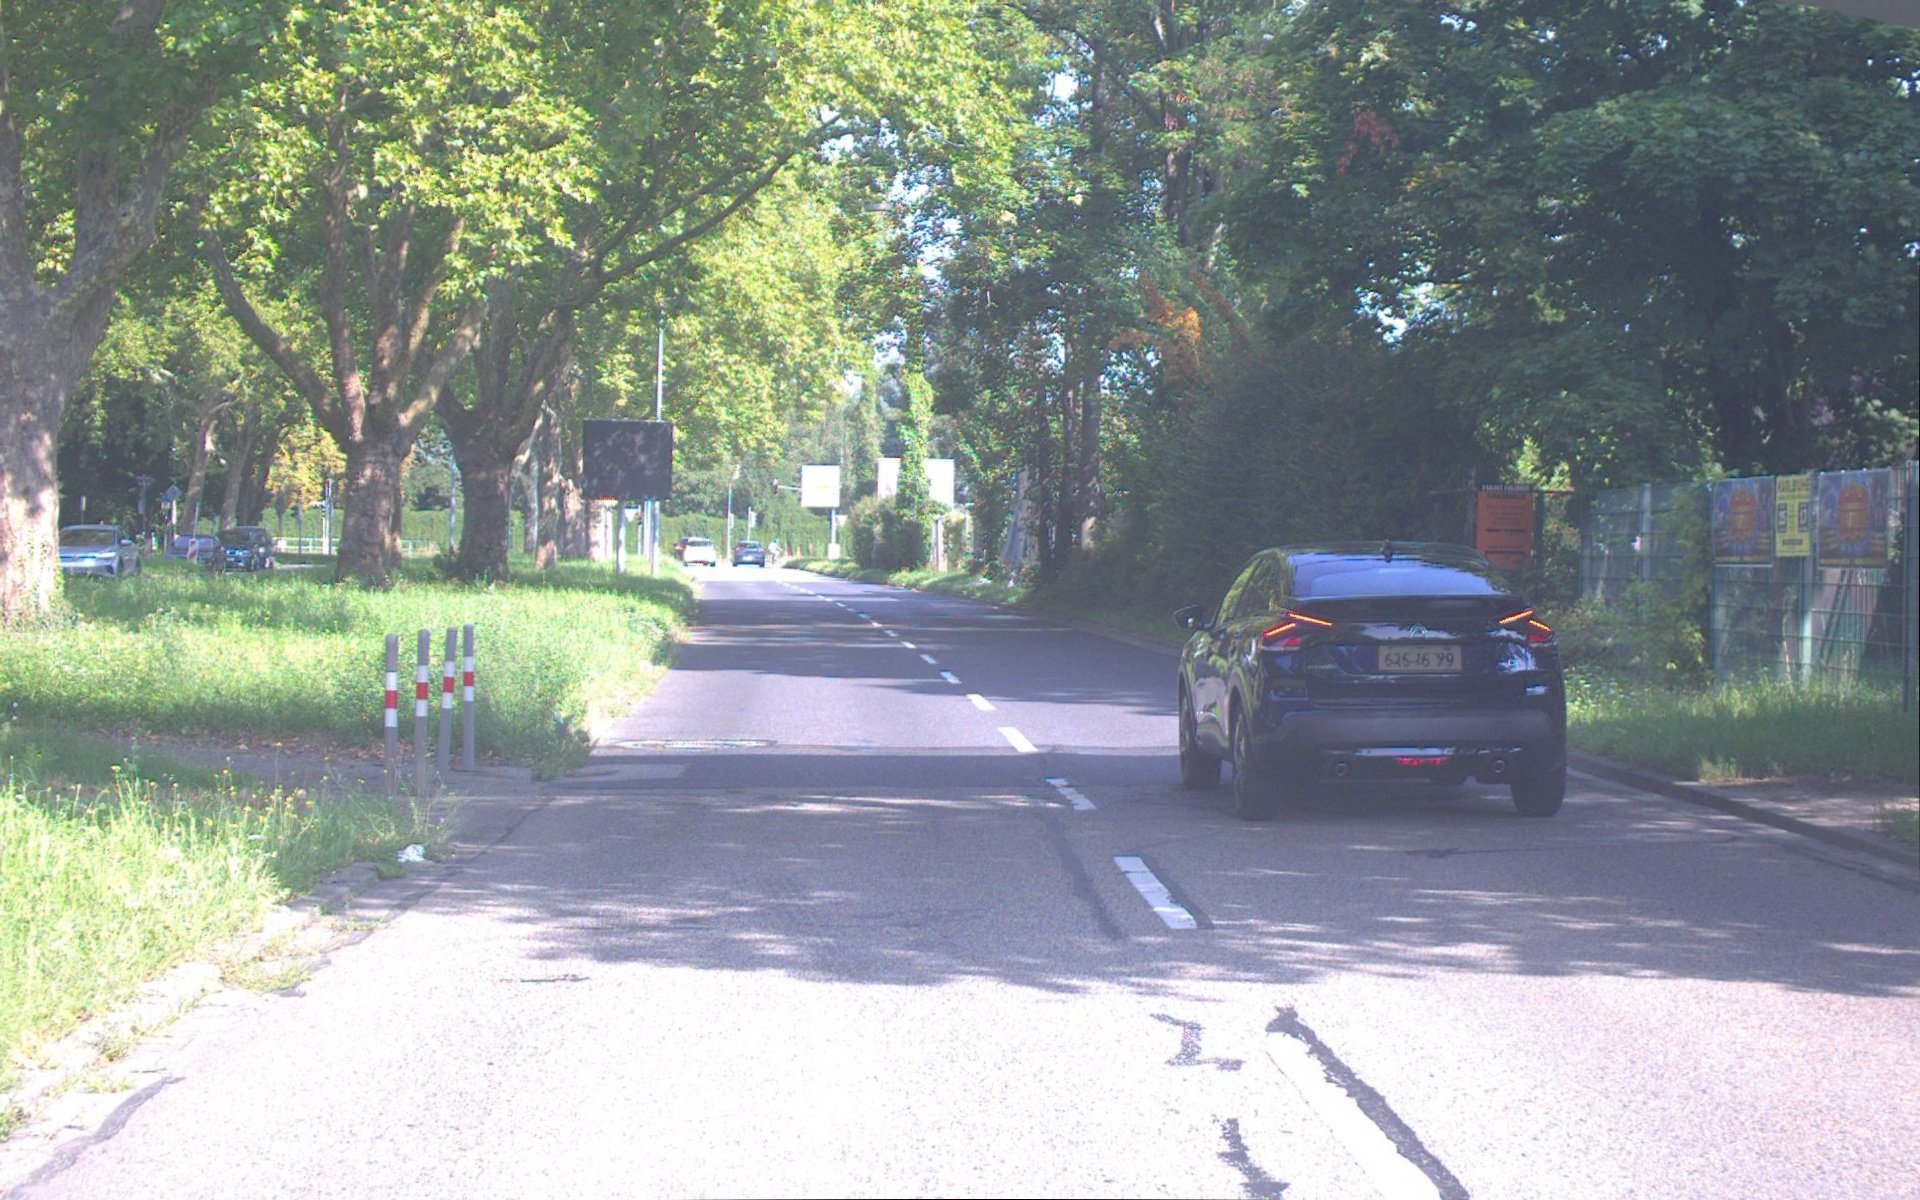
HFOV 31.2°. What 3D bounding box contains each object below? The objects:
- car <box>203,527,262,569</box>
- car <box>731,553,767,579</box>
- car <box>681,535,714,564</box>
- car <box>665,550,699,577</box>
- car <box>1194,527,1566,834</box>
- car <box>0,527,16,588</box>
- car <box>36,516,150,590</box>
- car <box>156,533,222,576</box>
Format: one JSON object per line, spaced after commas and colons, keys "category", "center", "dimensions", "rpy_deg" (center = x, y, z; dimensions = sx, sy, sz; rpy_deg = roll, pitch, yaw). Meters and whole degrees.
{"category": "car", "center": [-28.299, -2.020, 133.807], "dimensions": [1.699, 1.562, 4.001], "rpy_deg": [1, 1, -5]}
{"category": "car", "center": [-11.932, -1.944, 194.309], "dimensions": [1.797, 1.396, 4.001], "rpy_deg": [1, 1, -6]}
{"category": "car", "center": [-13.987, -2.684, 183.057], "dimensions": [1.687, 1.457, 4.001], "rpy_deg": [2, 1, -4]}
{"category": "car", "center": [-15.926, -2.105, 197.160], "dimensions": [1.687, 1.457, 3.850], "rpy_deg": [2, 1, -1]}
{"category": "car", "center": [2.329, 0.398, 20.022], "dimensions": [1.645, 1.583, 4.255], "rpy_deg": [1, 1, 0]}
{"category": "car", "center": [-23.686, -1.026, 81.762], "dimensions": [1.538, 1.446, 4.065], "rpy_deg": [2, 1, -3]}
{"category": "car", "center": [-20.918, -1.148, 83.069], "dimensions": [1.802, 1.714, 4.720], "rpy_deg": [1, 1, -3]}
{"category": "car", "center": [-28.119, -1.664, 125.512], "dimensions": [1.699, 1.503, 4.541], "rpy_deg": [1, 1, -5]}
